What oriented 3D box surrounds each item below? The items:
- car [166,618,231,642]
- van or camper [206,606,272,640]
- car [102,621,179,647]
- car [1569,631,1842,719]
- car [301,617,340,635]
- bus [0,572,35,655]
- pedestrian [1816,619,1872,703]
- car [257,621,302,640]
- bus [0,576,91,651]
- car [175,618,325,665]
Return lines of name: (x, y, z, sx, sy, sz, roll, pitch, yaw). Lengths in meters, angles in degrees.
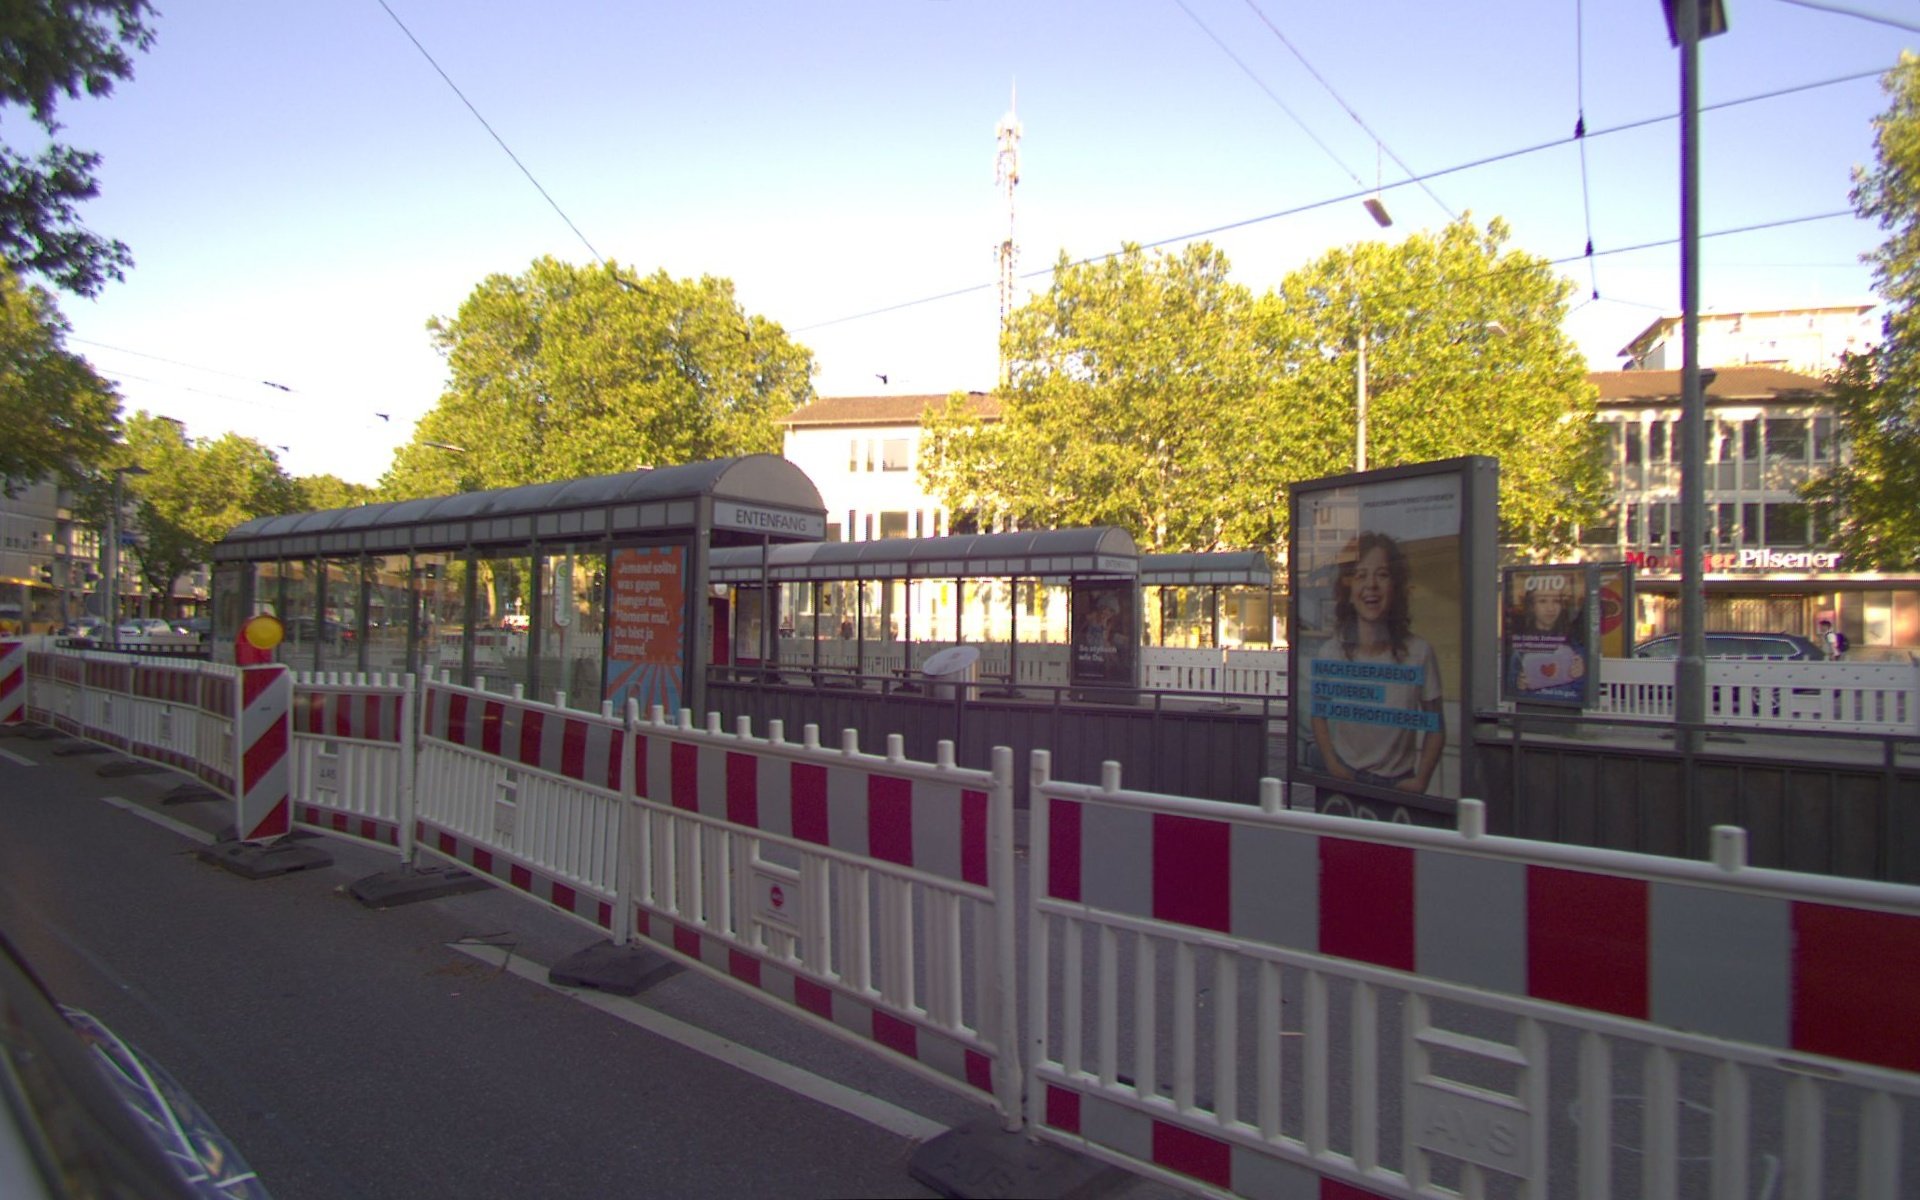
car: (-53.358, 2.091, 70.977, 1.966, 1.608, 4.573, 1, -2, -14)
van or camper: (-56.689, 1.789, 79.749, 2.254, 2.558, 5.508, 0, -1, -12)
car: (-51.543, 2.149, 63.767, 1.966, 1.608, 4.573, 1, -2, -14)
car: (14.011, 1.364, 19.372, 3.986, 1.497, 1.979, -1, -2, 31)
car: (-61.002, 2.500, 96.620, 1.966, 1.608, 4.011, 1, -2, -15)
bus: (-38.674, 0.534, 38.918, 2.694, 3.231, 12.339, -1, -1, -34)
pedestrian: (21.801, 1.480, 24.975, 0.884, 2.029, 0.874, -1, -2, 32)
car: (-58.885, 2.596, 87.674, 1.966, 1.608, 4.010, 1, -2, -14)
bus: (-44.978, 0.712, 48.826, 2.693, 3.231, 12.397, -1, -1, -31)
car: (-28.187, 1.687, 40.334, 4.364, 1.660, 2.005, 3, -4, -13)
